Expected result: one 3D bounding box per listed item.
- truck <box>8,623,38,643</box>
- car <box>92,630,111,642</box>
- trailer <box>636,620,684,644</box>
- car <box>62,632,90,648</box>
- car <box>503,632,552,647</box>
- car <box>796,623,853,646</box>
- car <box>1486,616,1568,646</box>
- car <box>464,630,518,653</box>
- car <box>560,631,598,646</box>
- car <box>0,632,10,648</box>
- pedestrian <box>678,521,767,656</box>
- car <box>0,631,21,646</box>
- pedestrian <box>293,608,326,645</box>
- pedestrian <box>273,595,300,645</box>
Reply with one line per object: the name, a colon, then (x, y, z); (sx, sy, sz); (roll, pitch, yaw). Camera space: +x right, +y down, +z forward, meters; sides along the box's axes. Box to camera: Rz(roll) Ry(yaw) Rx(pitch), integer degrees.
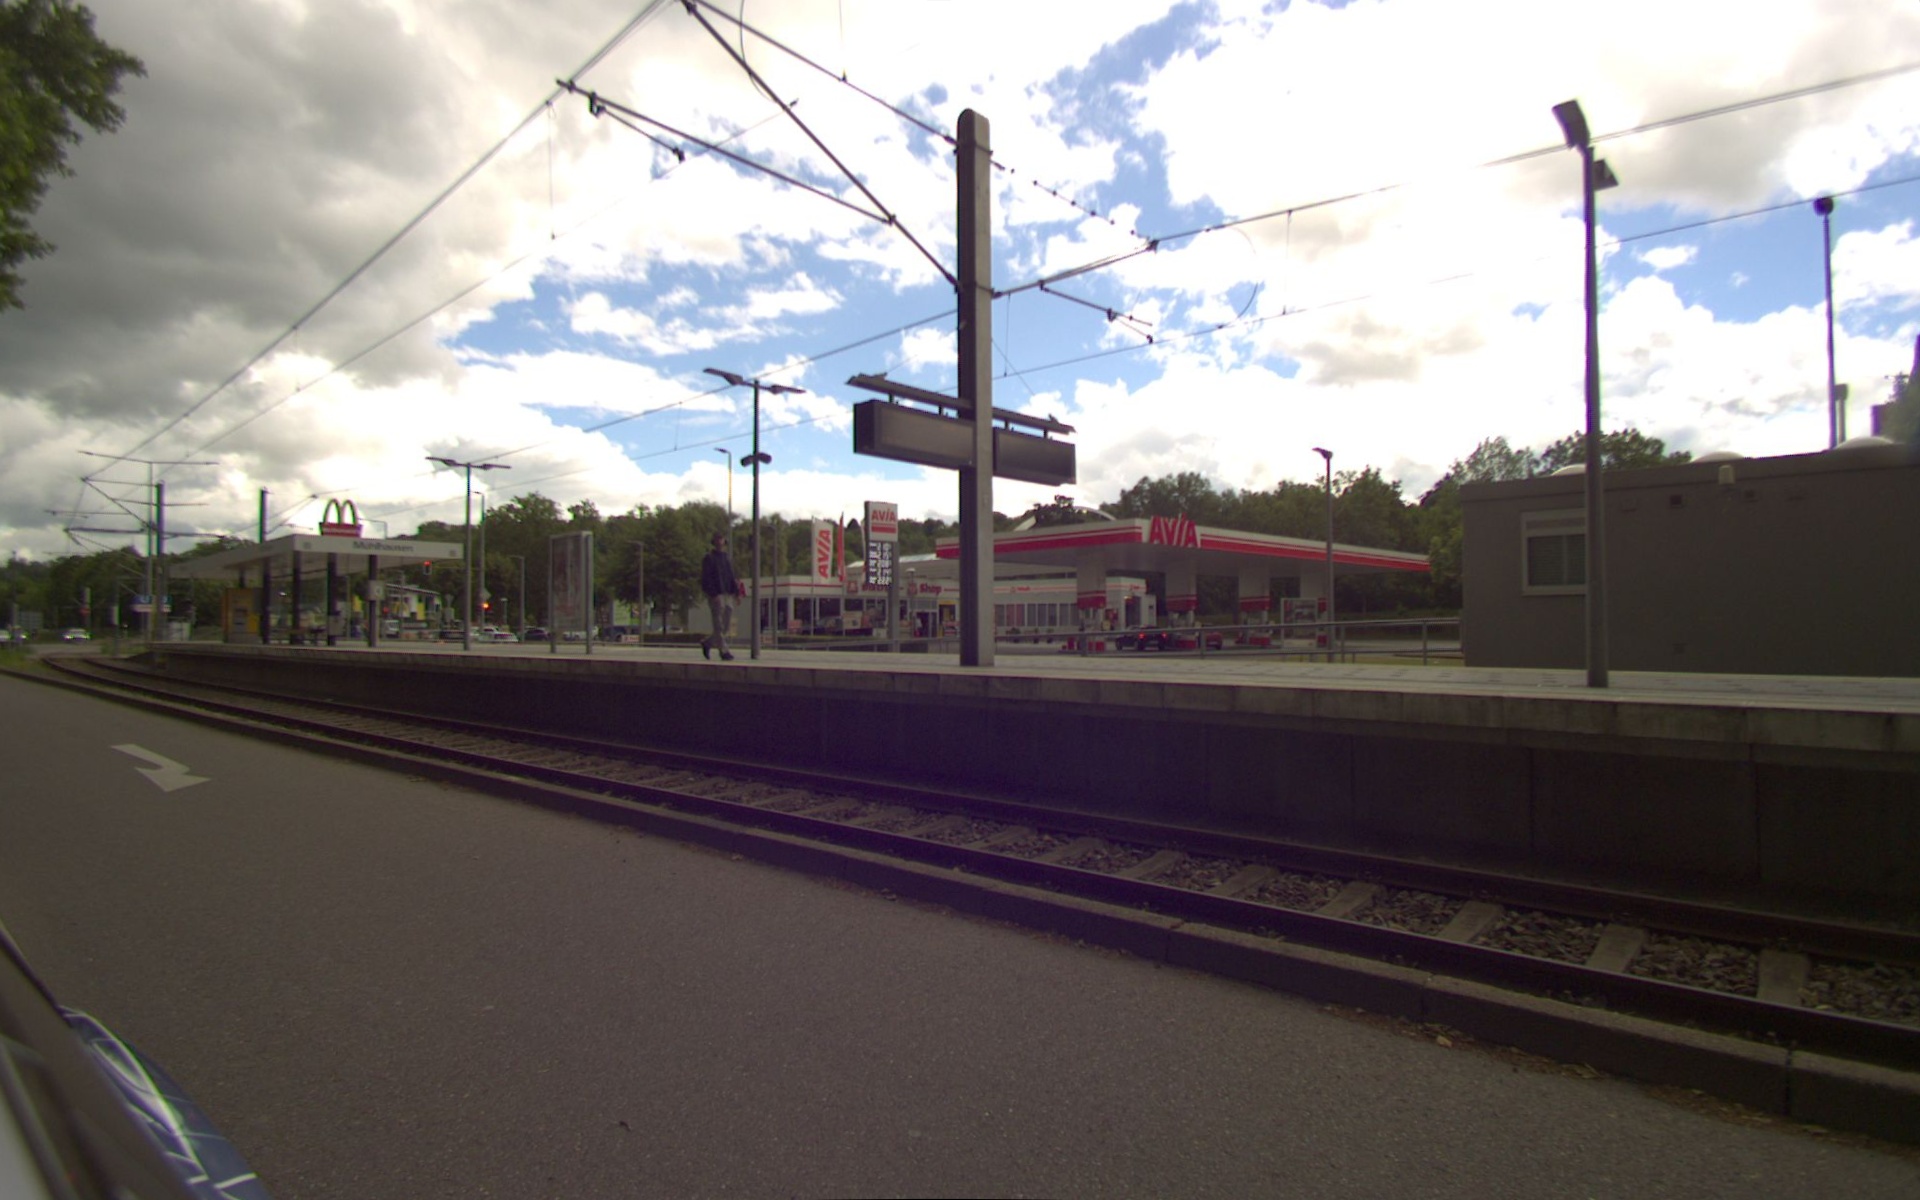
truck: (-174.110, 6.195, 188.019); (8.699, 3.587, 3.389); (-2, -4, 43)
car: (-150.971, 6.354, 177.949); (3.998, 2.029, 1.972); (-1, -3, 41)
trailer: (-29.728, 3.150, 100.295); (1.560, 2.275, 4.331); (-2, -4, 41)
car: (-91.031, 4.145, 104.260); (1.937, 1.564, 4.007); (3, -3, -39)
car: (-43.468, 3.922, 101.700); (1.788, 1.443, 4.375); (-1, -2, 29)
car: (-8.387, 2.117, 62.340); (3.636, 1.360, 1.595); (-2, -2, 44)
car: (34.546, 1.880, 61.709); (4.056, 1.765, 1.890); (-1, -3, 40)
car: (-28.836, 2.512, 62.187); (4.030, 1.360, 1.595); (-2, -2, 42)
car: (-41.224, 4.148, 109.460); (1.720, 1.566, 3.605); (-1, -3, 29)
car: (-94.315, 3.854, 98.814); (1.802, 1.564, 4.008); (3, -3, -38)
pedestrian: (-3.236, -0.129, 13.801); (0.936, 1.757, 0.741); (-2, -4, 41)
car: (-102.188, 4.078, 108.534); (1.803, 1.564, 4.007); (3, -3, -39)
pedestrian: (-21.229, 0.859, 33.031); (0.760, 1.198, 0.728); (2, -3, -45)
pedestrian: (-22.765, 0.682, 34.192); (0.572, 1.633, 0.577); (-2, -4, 43)
